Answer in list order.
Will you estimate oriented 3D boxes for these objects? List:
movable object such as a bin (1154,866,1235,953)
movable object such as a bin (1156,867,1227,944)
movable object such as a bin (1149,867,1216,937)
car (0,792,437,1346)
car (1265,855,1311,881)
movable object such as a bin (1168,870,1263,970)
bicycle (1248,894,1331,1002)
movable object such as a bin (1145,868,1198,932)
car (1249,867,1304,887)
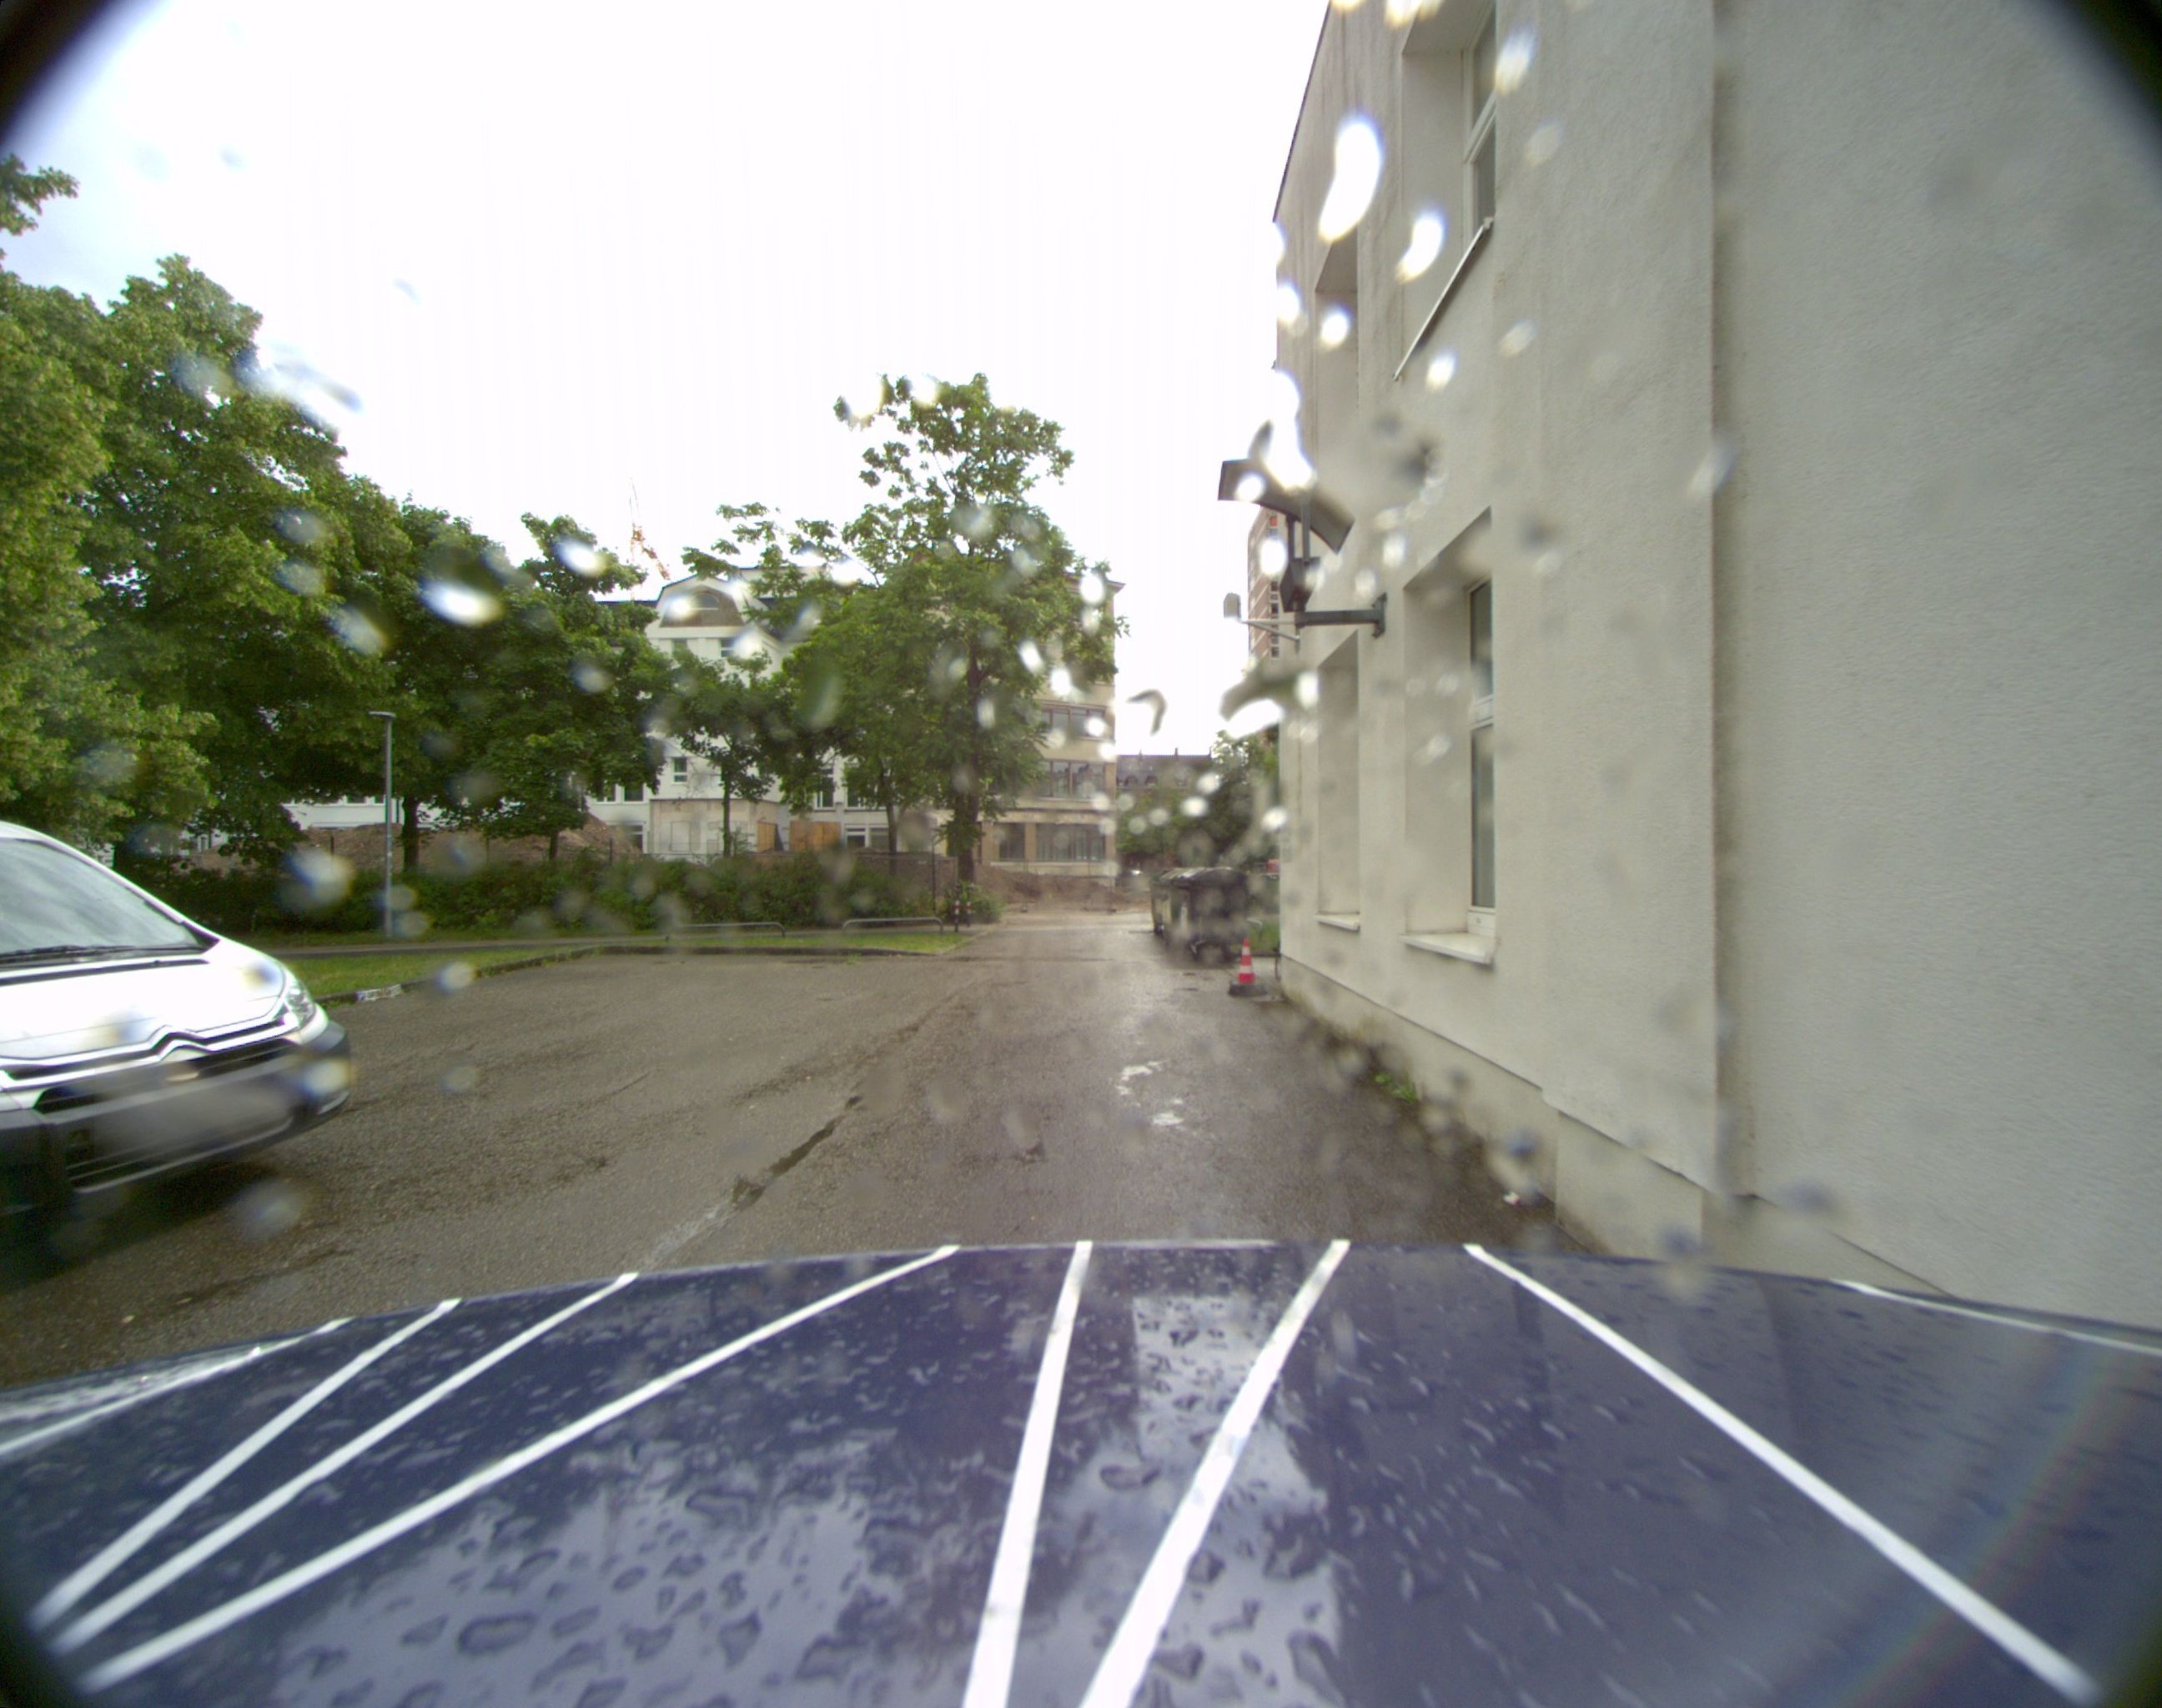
[{"bbox_3d":[2.044,0.977,13.936,1.167,1.474,1.496,1,0,-3],"label":"movable object such as a bin"},{"bbox_3d":[2.214,1.015,15.414,1.167,1.474,1.403,0,-1,-3],"label":"movable object such as a bin"},{"bbox_3d":[2.216,1.047,16.832,1.168,1.474,1.402,-1,-2,-5],"label":"movable object such as a bin"},{"bbox_3d":[-6.143,0.779,3.363,4.884,1.914,2.100,-1,1,4],"label":"car"},{"bbox_3d":[21.244,1.424,78.106,2.303,2.618,5.477,1,0,-12],"label":"car"},{"bbox_3d":[2.140,1.020,12.363,1.167,1.474,1.594,1,0,-3],"label":"movable object such as a bin"},{"bbox_3d":[2.497,1.095,9.261,0.616,1.109,1.520,1,0,2],"label":"bicycle"},{"bbox_3d":[2.213,1.080,18.383,1.103,1.464,1.487,-1,0,12],"label":"movable object such as a bin"},{"bbox_3d":[14.624,1.724,57.085,1.893,1.461,3.992,2,-2,-25],"label":"car"}]
